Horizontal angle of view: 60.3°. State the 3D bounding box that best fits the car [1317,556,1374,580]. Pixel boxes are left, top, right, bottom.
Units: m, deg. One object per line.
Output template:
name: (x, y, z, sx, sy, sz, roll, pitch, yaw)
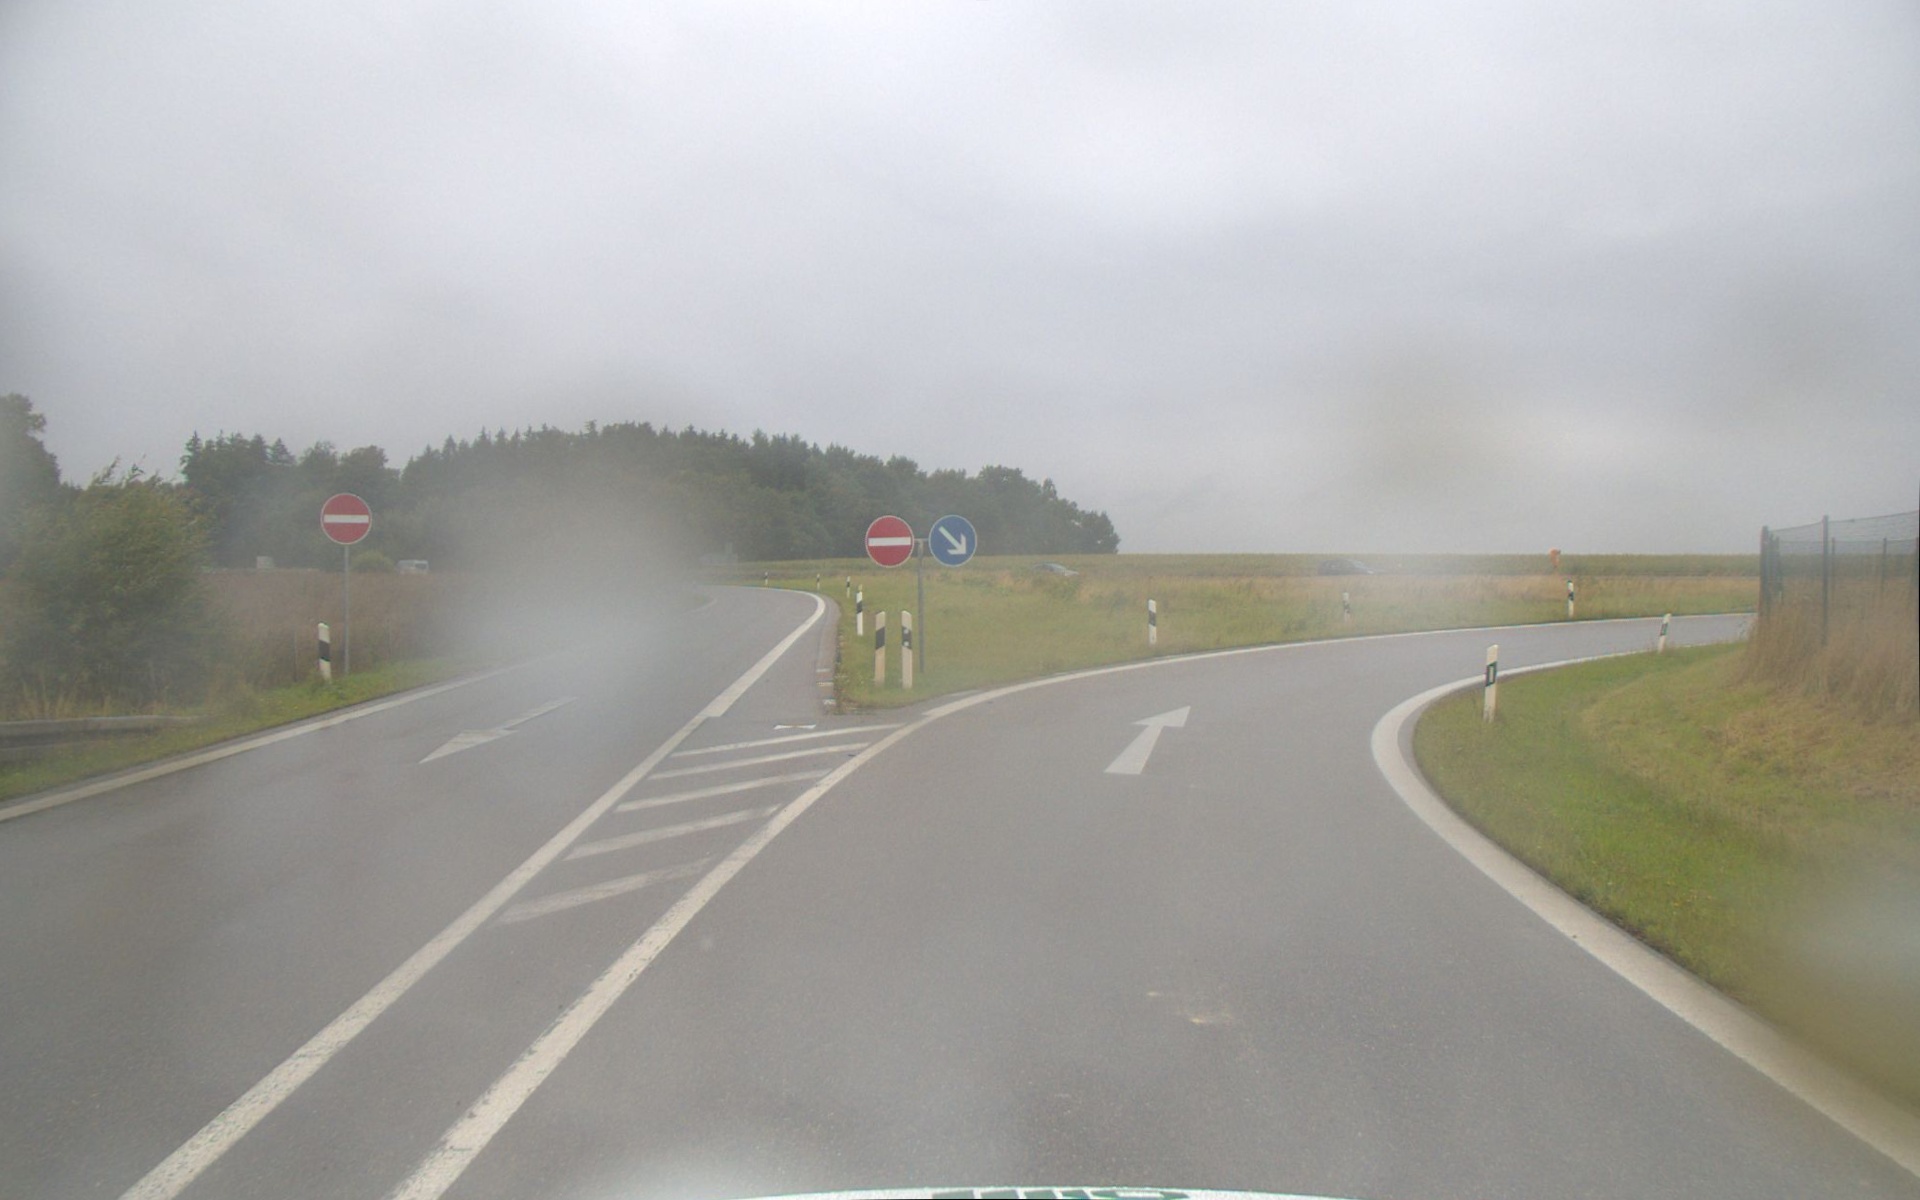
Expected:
car: (29.552, -2.459, 126.744, 3.931, 1.767, 1.724, 0, 2, 44)
